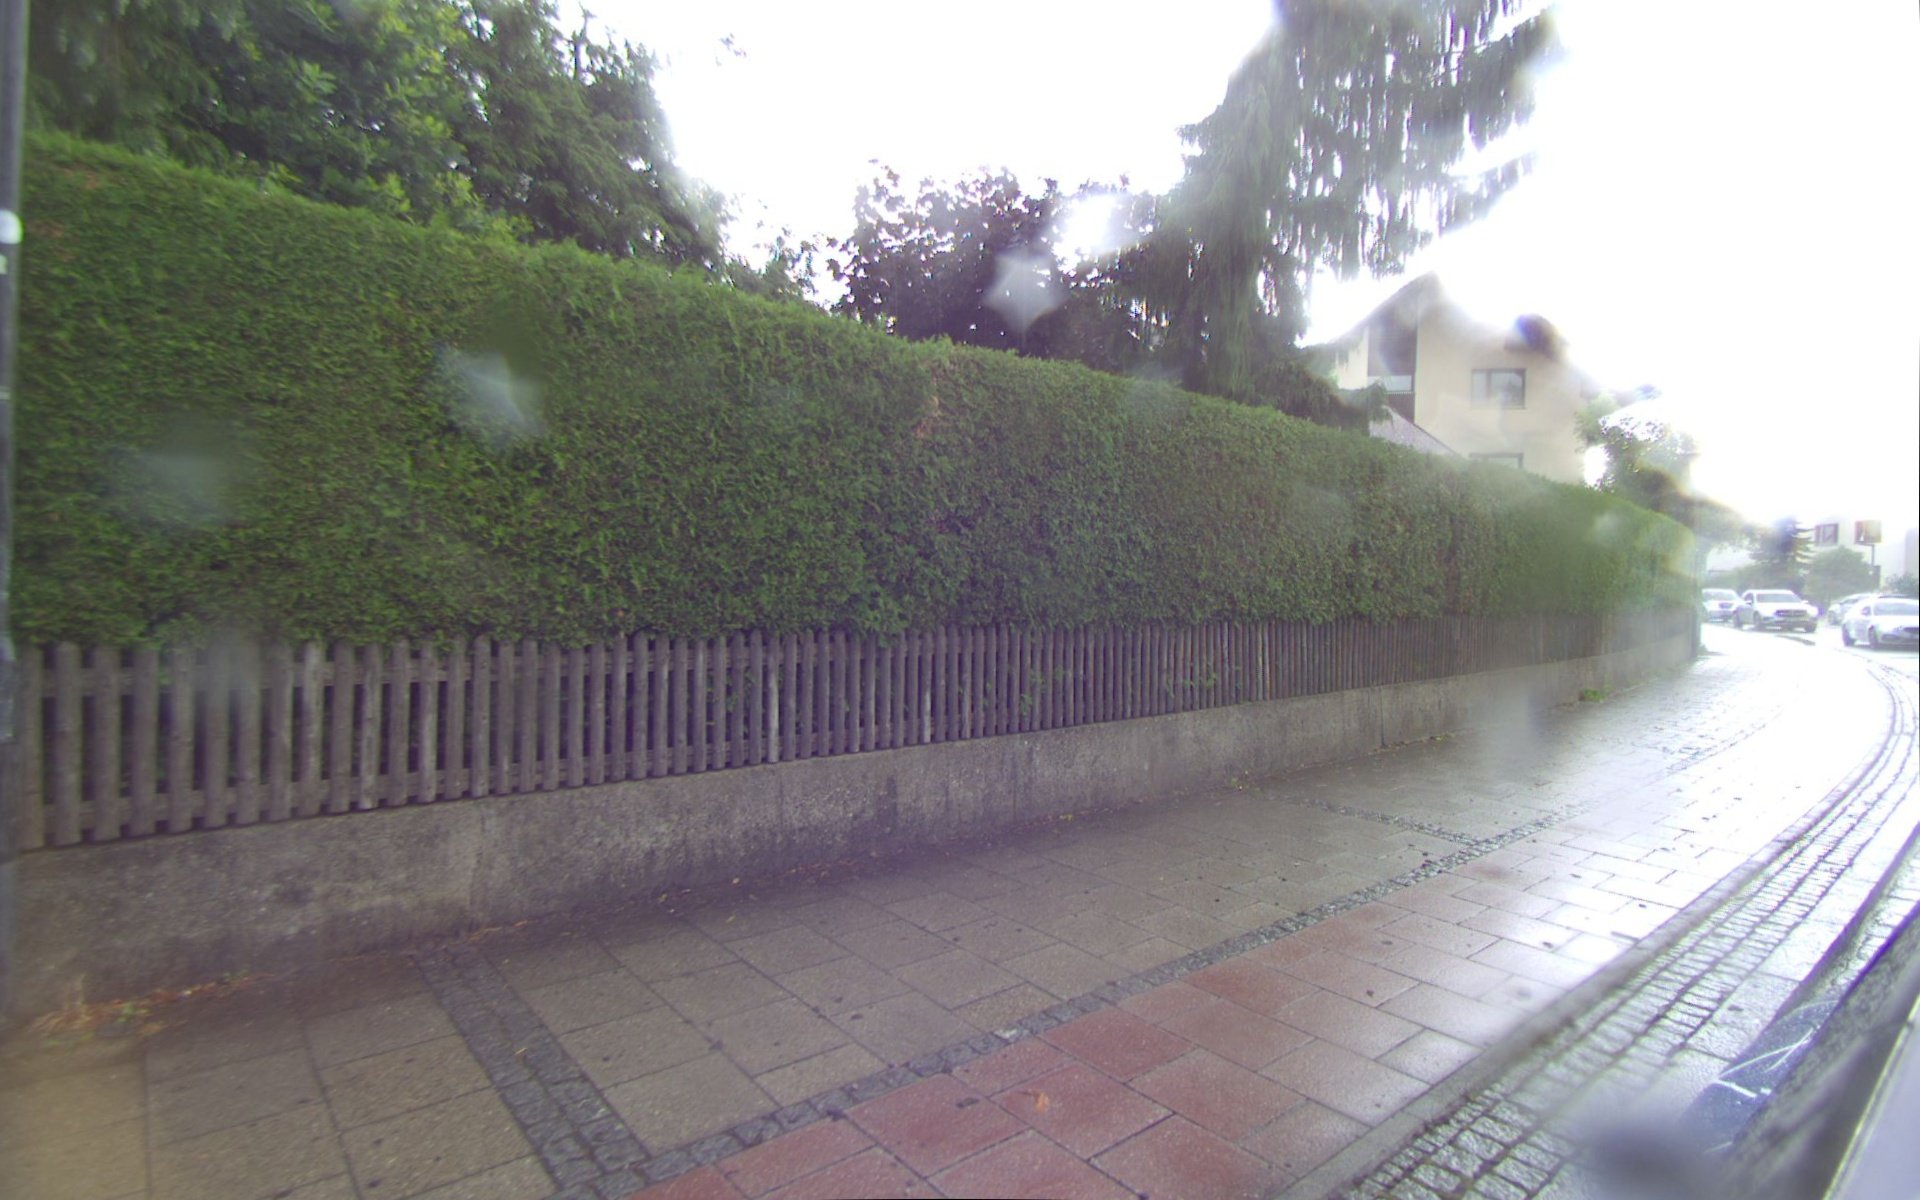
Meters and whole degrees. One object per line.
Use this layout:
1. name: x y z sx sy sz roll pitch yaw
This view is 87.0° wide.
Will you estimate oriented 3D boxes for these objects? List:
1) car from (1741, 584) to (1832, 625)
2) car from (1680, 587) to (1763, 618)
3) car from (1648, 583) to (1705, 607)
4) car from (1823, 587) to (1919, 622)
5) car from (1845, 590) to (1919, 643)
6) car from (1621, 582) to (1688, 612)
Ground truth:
1. car: 33.410 0.145 41.053 1.776 1.568 4.246 -1 0 24
2. car: 36.958 0.102 49.239 1.770 1.391 4.260 -1 0 16
3. car: 44.772 -0.314 63.306 1.599 1.462 3.656 0 1 13
4. car: 39.806 0.178 44.276 1.699 1.460 3.977 -1 0 18
5. car: 27.329 0.434 29.108 1.777 1.412 4.242 -1 0 27
6. car: 38.763 -0.193 56.596 1.770 1.568 4.260 -1 0 16
